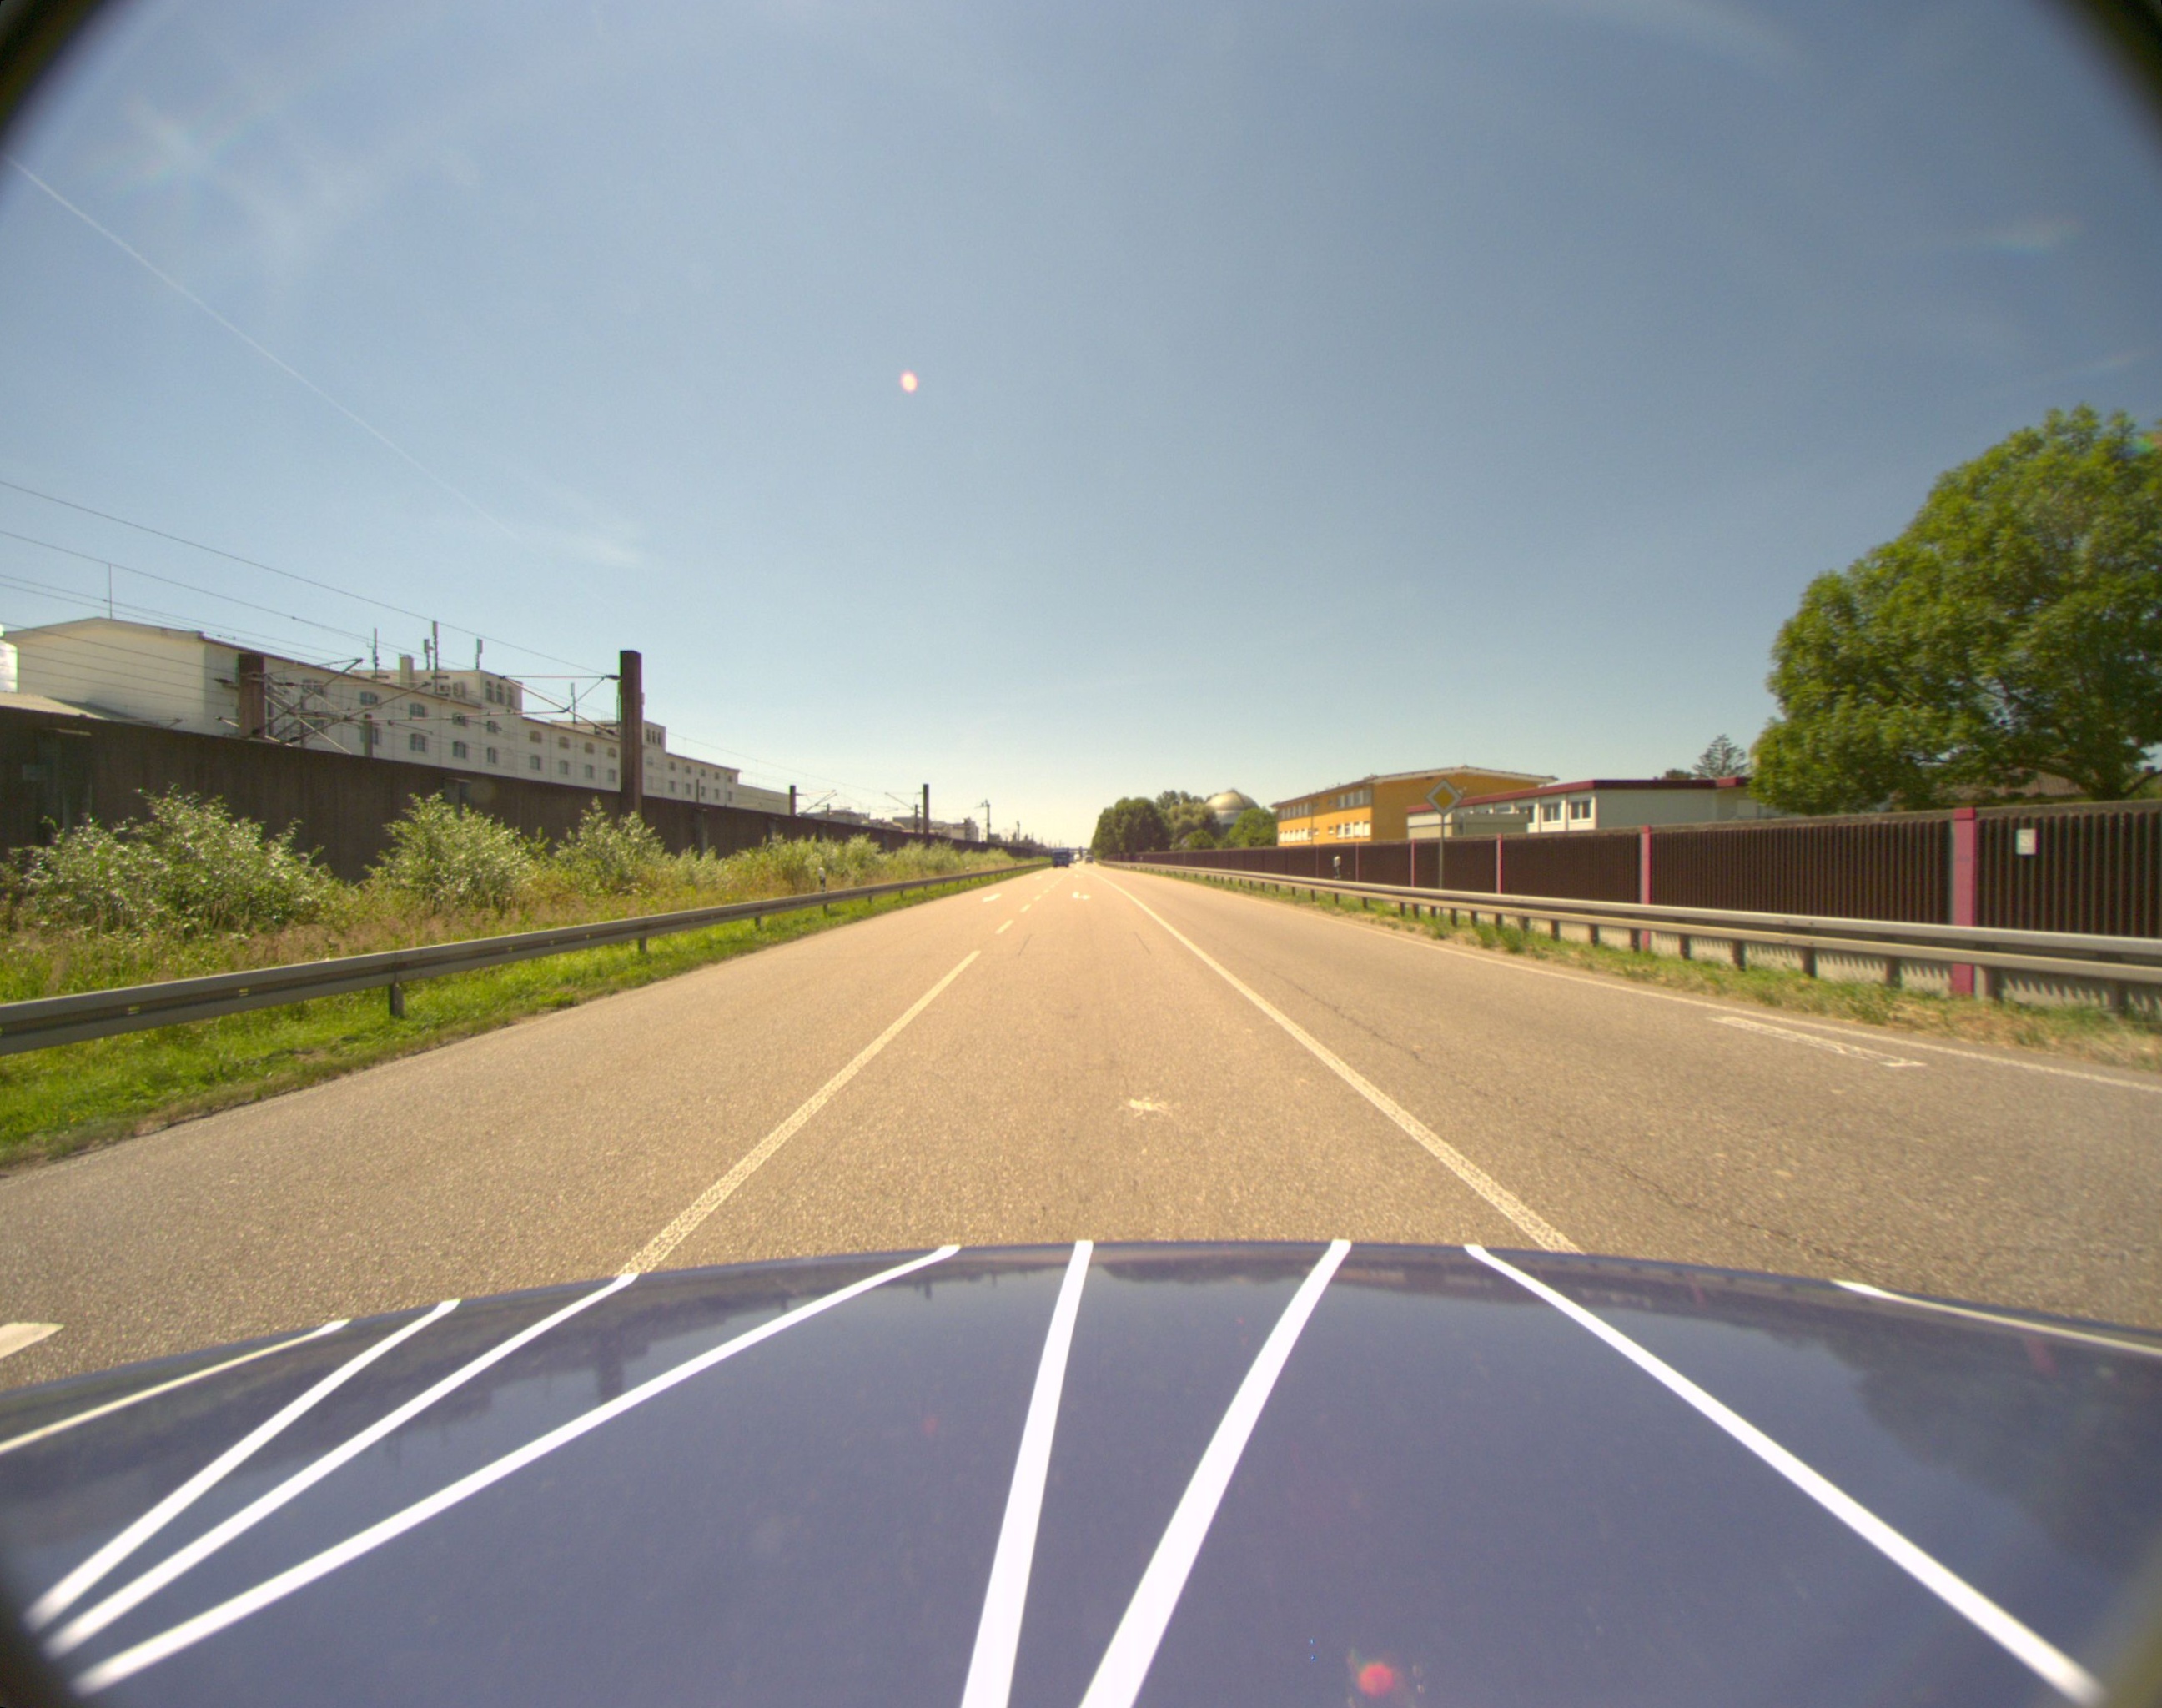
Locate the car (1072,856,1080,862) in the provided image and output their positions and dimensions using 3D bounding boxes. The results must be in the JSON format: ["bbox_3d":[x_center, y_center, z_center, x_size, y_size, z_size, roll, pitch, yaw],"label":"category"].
[{"bbox_3d":[-1.252,1.190,184.107,1.730,1.465,3.889,-1,0,-1],"label":"car"}]

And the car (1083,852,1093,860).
[{"bbox_3d":[1.509,0.387,166.373,1.892,1.730,4.775,-1,0,-2],"label":"car"}]

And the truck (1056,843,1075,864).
[{"bbox_3d":[-2.347,-0.036,116.622,2.617,3.024,10.654,-1,0,0],"label":"truck"}]
